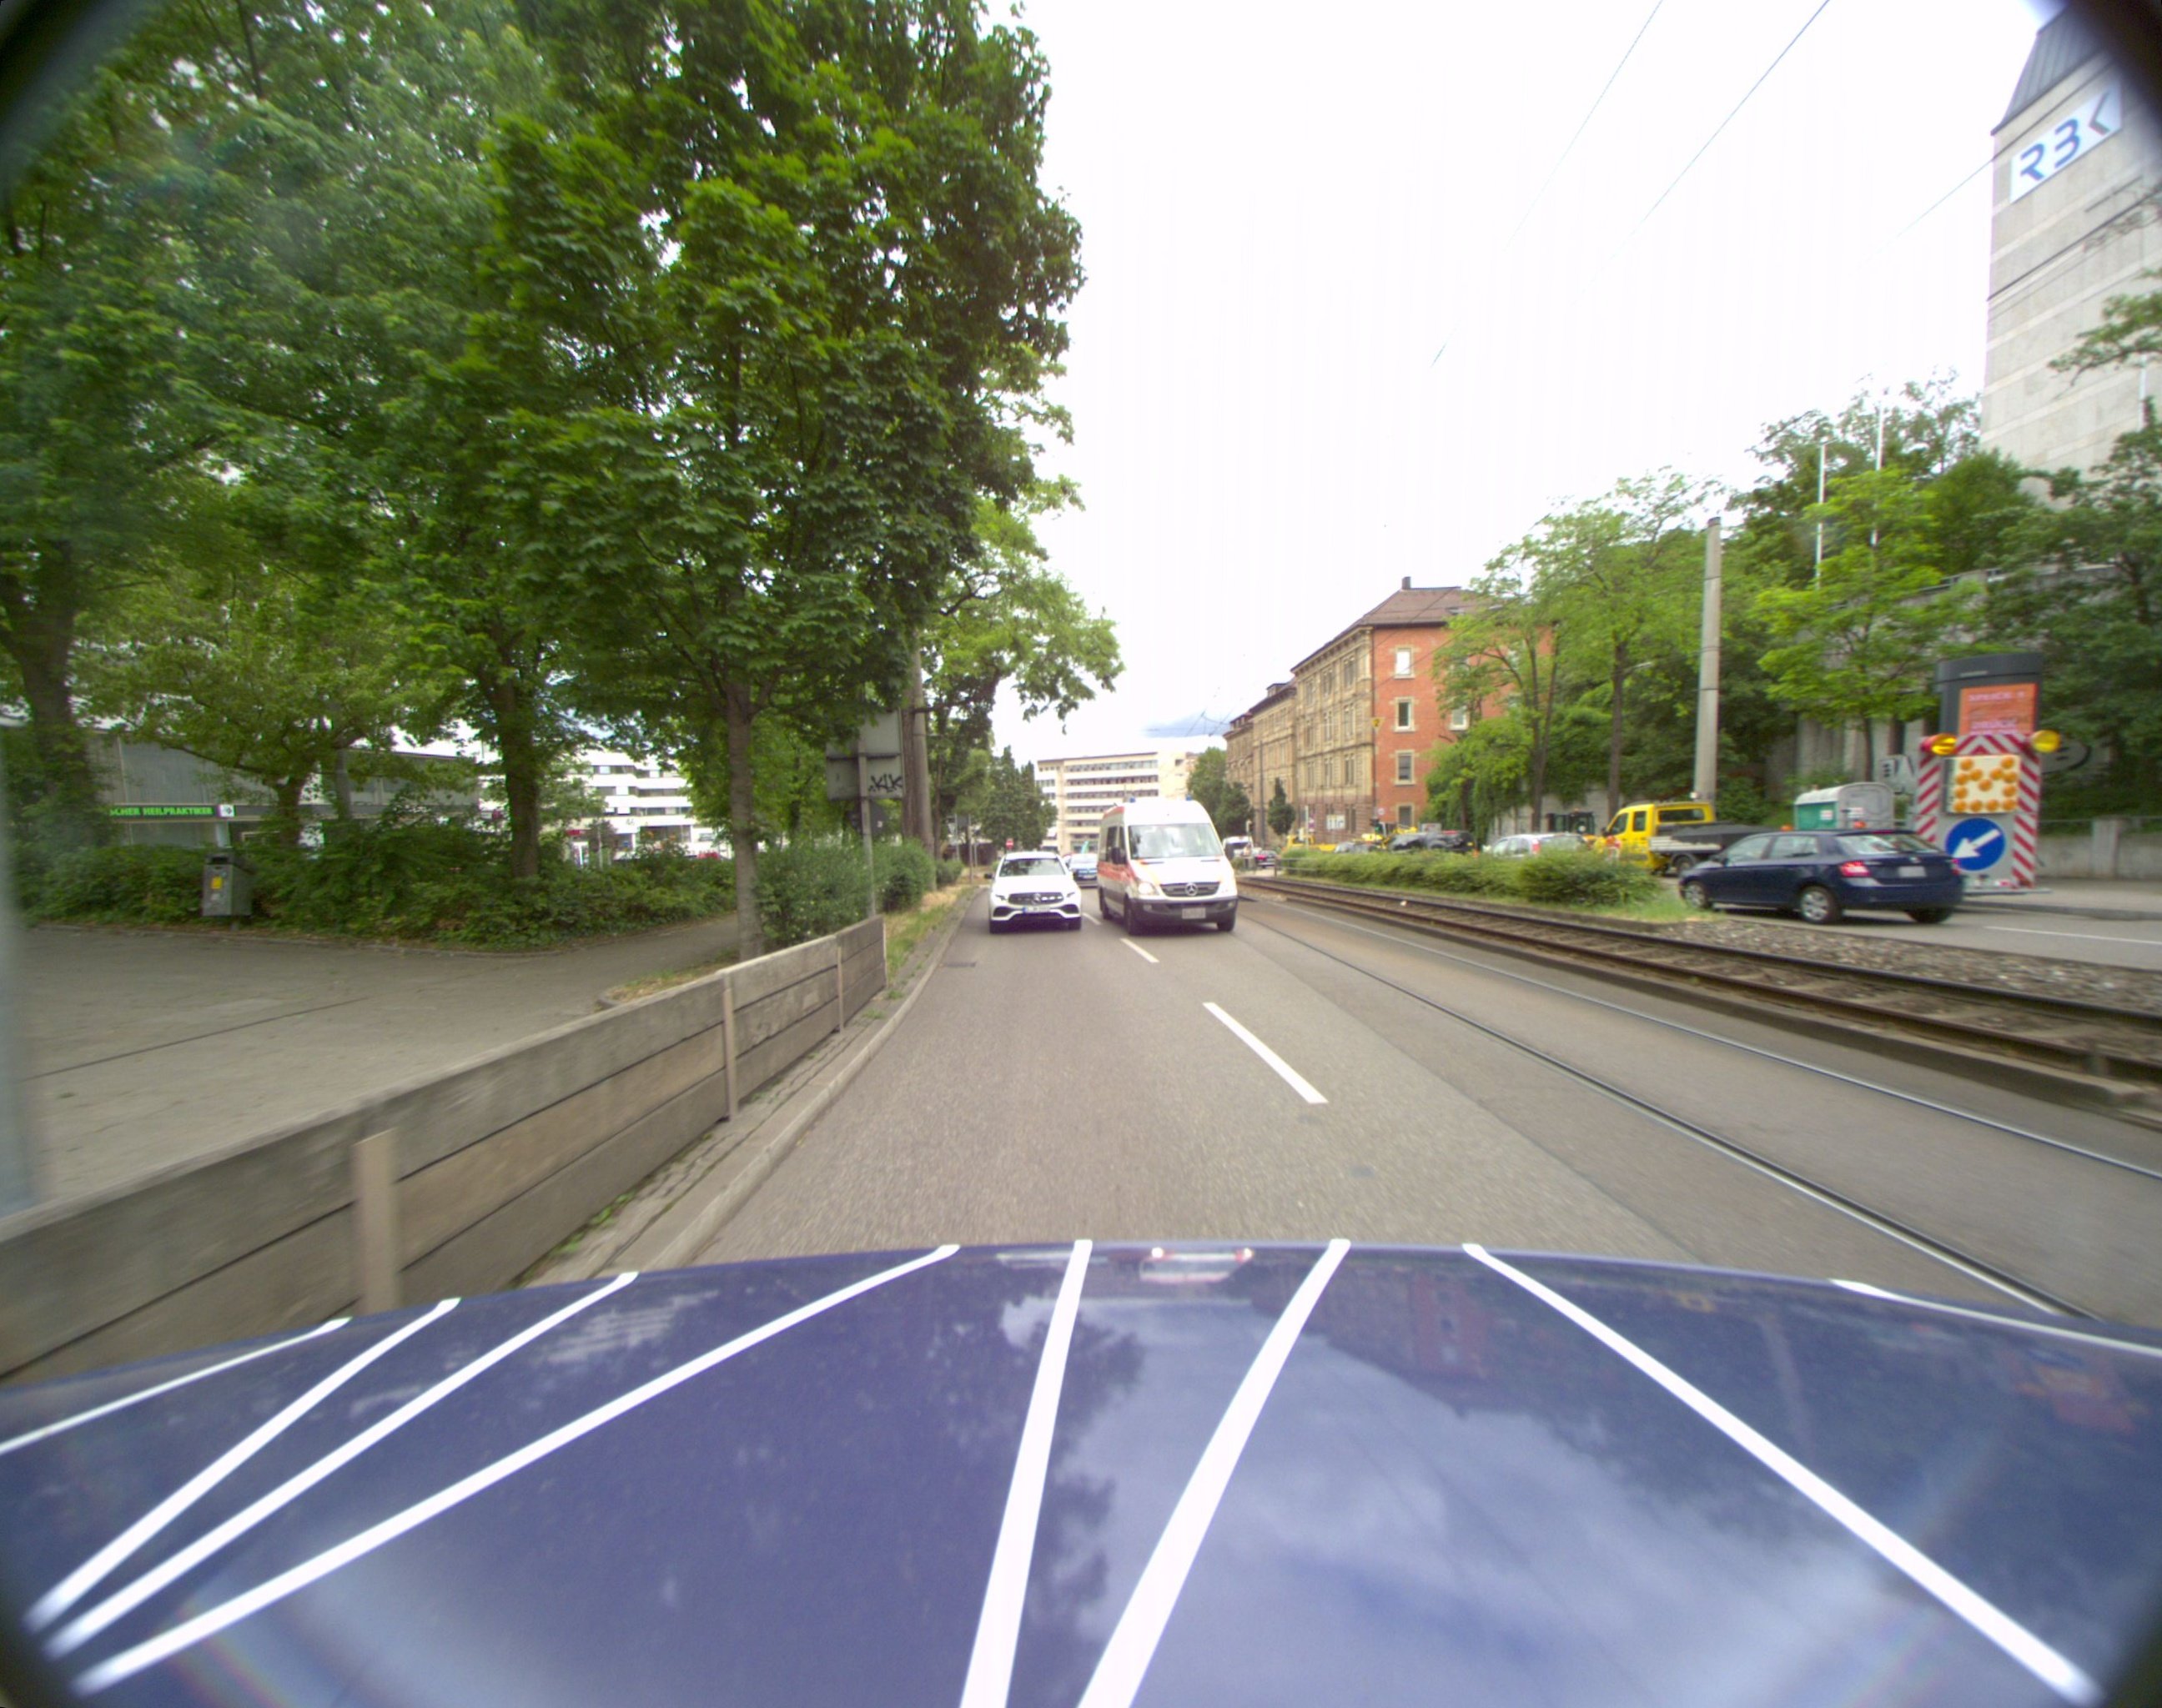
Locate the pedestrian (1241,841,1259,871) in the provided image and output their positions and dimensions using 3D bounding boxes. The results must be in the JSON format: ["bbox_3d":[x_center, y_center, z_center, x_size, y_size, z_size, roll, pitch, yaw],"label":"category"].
[{"bbox_3d":[10.298,0.104,46.244,0.742,1.806,0.792,-1,0,-22],"label":"pedestrian"}]

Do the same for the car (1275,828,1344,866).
[{"bbox_3d":[16.036,-0.499,53.774,2.447,2.422,6.751,-2,1,-4],"label":"car"}]

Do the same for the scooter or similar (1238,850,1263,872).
[{"bbox_3d":[10.227,0.405,45.887,1.500,1.288,0.532,-2,1,-30],"label":"scooter or similar"}]

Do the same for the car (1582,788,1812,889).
[{"bbox_3d":[18.165,-0.405,23.016,2.161,2.578,6.337,-1,0,4],"label":"car"}]

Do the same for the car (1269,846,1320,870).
[{"bbox_3d":[13.181,0.210,47.139,1.886,1.427,4.844,0,1,1],"label":"car"}]

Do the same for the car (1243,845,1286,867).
[{"bbox_3d":[12.647,0.116,52.655,1.784,1.453,3.999,-1,0,-3],"label":"car"}]

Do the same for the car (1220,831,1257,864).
[{"bbox_3d":[14.151,-0.586,68.393,2.214,2.806,4.783,-1,0,-1],"label":"car"}]

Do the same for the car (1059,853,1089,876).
[{"bbox_3d":[-0.575,0.760,56.578,1.999,1.543,4.316,-1,0,-3],"label":"car"}]

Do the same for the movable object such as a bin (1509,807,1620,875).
[{"bbox_3d":[19.361,-0.471,30.664,1.937,2.453,4.099,-3,0,4],"label":"movable object such as a bin"}]

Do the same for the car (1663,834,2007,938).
[{"bbox_3d":[11.967,0.443,12.537,1.770,1.399,4.083,-1,0,3],"label":"car"}]

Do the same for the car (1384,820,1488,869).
[{"bbox_3d":[12.843,-0.321,27.819,1.998,1.595,4.611,-1,0,6],"label":"car"}]

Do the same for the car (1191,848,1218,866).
[{"bbox_3d":[11.294,0.257,69.530,1.871,1.510,3.950,-1,0,2],"label":"car"}]

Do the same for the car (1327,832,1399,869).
[{"bbox_3d":[13.410,-0.153,36.403,1.998,1.595,4.621,-1,0,4],"label":"car"}]

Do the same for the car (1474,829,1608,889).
[{"bbox_3d":[12.198,0.122,20.433,1.662,1.435,3.741,-1,0,7],"label":"car"}]

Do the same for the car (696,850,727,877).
[{"bbox_3d":[-31.675,0.822,65.101,2.130,2.200,4.882,-2,0,-28],"label":"car"}]

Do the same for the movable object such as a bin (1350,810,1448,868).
[{"bbox_3d":[20.711,-0.896,49.903,2.756,3.527,6.543,-2,0,-11],"label":"movable object such as a bin"}]

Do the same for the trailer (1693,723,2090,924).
[{"bbox_3d":[14.637,-0.482,14.428,2.023,2.956,5.592,-3,0,8],"label":"trailer"}]

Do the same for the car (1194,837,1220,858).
[{"bbox_3d":[13.926,-0.688,84.257,2.241,2.274,4.000,-1,0,2],"label":"car"}]

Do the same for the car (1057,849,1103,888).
[{"bbox_3d":[-0.017,0.637,35.011,1.931,1.563,4.180,-4,0,1],"label":"car"}]

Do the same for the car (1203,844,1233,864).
[{"bbox_3d":[11.533,0.015,64.074,1.707,1.558,3.999,-1,0,-1],"label":"car"}]

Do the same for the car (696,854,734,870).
[{"bbox_3d":[-46.435,0.980,96.442,4.001,1.677,1.688,-4,1,-12],"label":"car"}]

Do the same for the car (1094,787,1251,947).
[{"bbox_3d":[1.636,0.225,16.023,2.040,2.684,5.851,-2,0,-5],"label":"car"}]

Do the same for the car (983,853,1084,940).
[{"bbox_3d":[-1.034,0.819,16.956,1.895,1.610,4.477,-2,0,-3],"label":"car"}]

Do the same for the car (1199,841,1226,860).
[{"bbox_3d":[13.908,-0.408,80.589,2.320,1.928,3.437,-1,0,2],"label":"car"}]
